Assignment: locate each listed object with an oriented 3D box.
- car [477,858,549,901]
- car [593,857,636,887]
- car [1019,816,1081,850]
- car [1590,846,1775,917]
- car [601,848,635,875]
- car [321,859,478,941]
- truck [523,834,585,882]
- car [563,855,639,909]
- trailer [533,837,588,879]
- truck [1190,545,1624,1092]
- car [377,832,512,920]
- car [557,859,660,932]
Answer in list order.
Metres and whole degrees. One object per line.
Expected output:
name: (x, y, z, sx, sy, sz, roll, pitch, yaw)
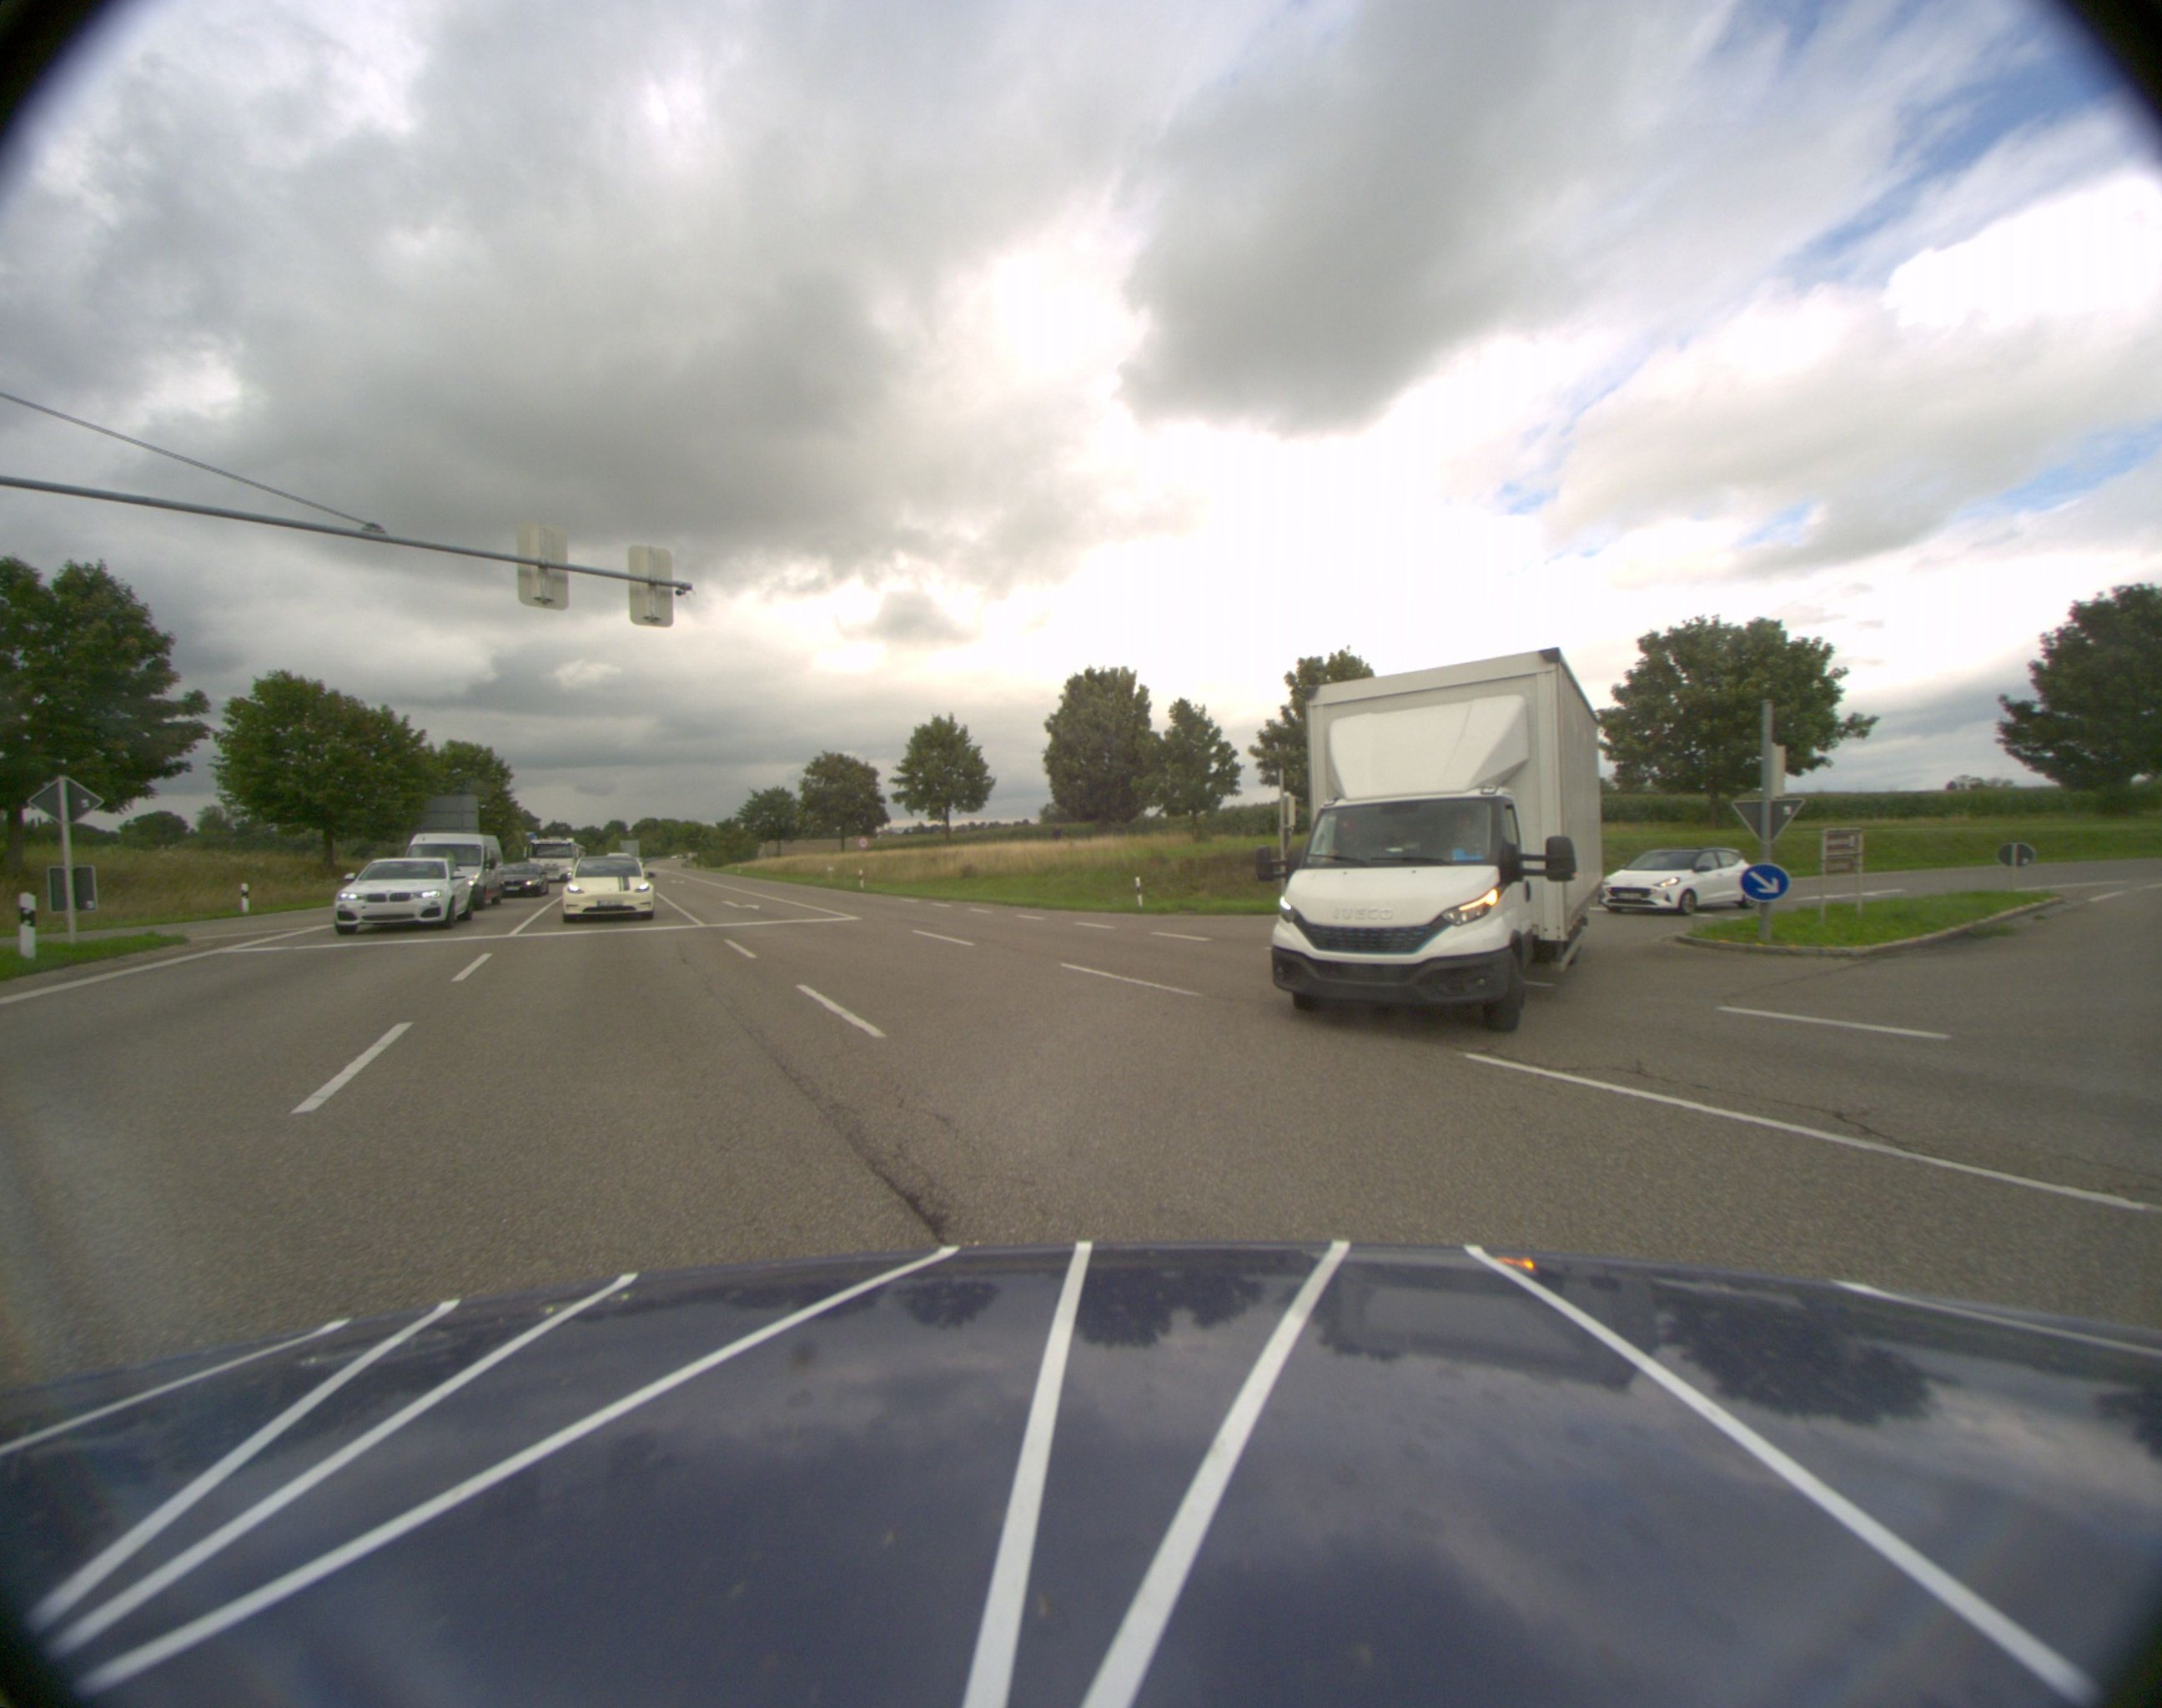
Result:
car: (-24.029, 1.016, 32.295, 2.003, 1.620, 4.264, -3, 1, -32)
car: (-27.070, 0.983, 44.098, 2.003, 1.583, 4.436, -1, 1, -32)
car: (-2.054, -1.359, 49.855, 2.003, 2.002, 3.989, -4, 2, -39)
car: (14.253, 0.581, 18.004, 4.005, 1.444, 1.807, -1, 1, -25)
car: (-36.001, 0.530, 59.173, 2.173, 2.002, 4.668, -1, 1, -31)
car: (-15.528, 0.944, 17.587, 2.003, 1.619, 4.264, 0, 0, -32)
truck: (-36.666, 0.235, 53.089, 3.114, 3.091, 7.388, -1, 1, -32)
car: (-16.611, 0.892, 26.393, 2.003, 1.620, 4.312, -3, 1, -32)
trailer: (-41.413, 0.264, 60.739, 3.114, 3.073, 10.634, -1, 1, -32)
truck: (4.831, -0.267, 9.539, 2.831, 3.742, 8.818, 0, 1, 38)
car: (-20.203, 0.603, 24.450, 2.402, 2.428, 5.499, -3, 2, -31)
car: (-12.394, 0.976, 19.998, 2.003, 1.556, 4.736, -3, 1, -32)
